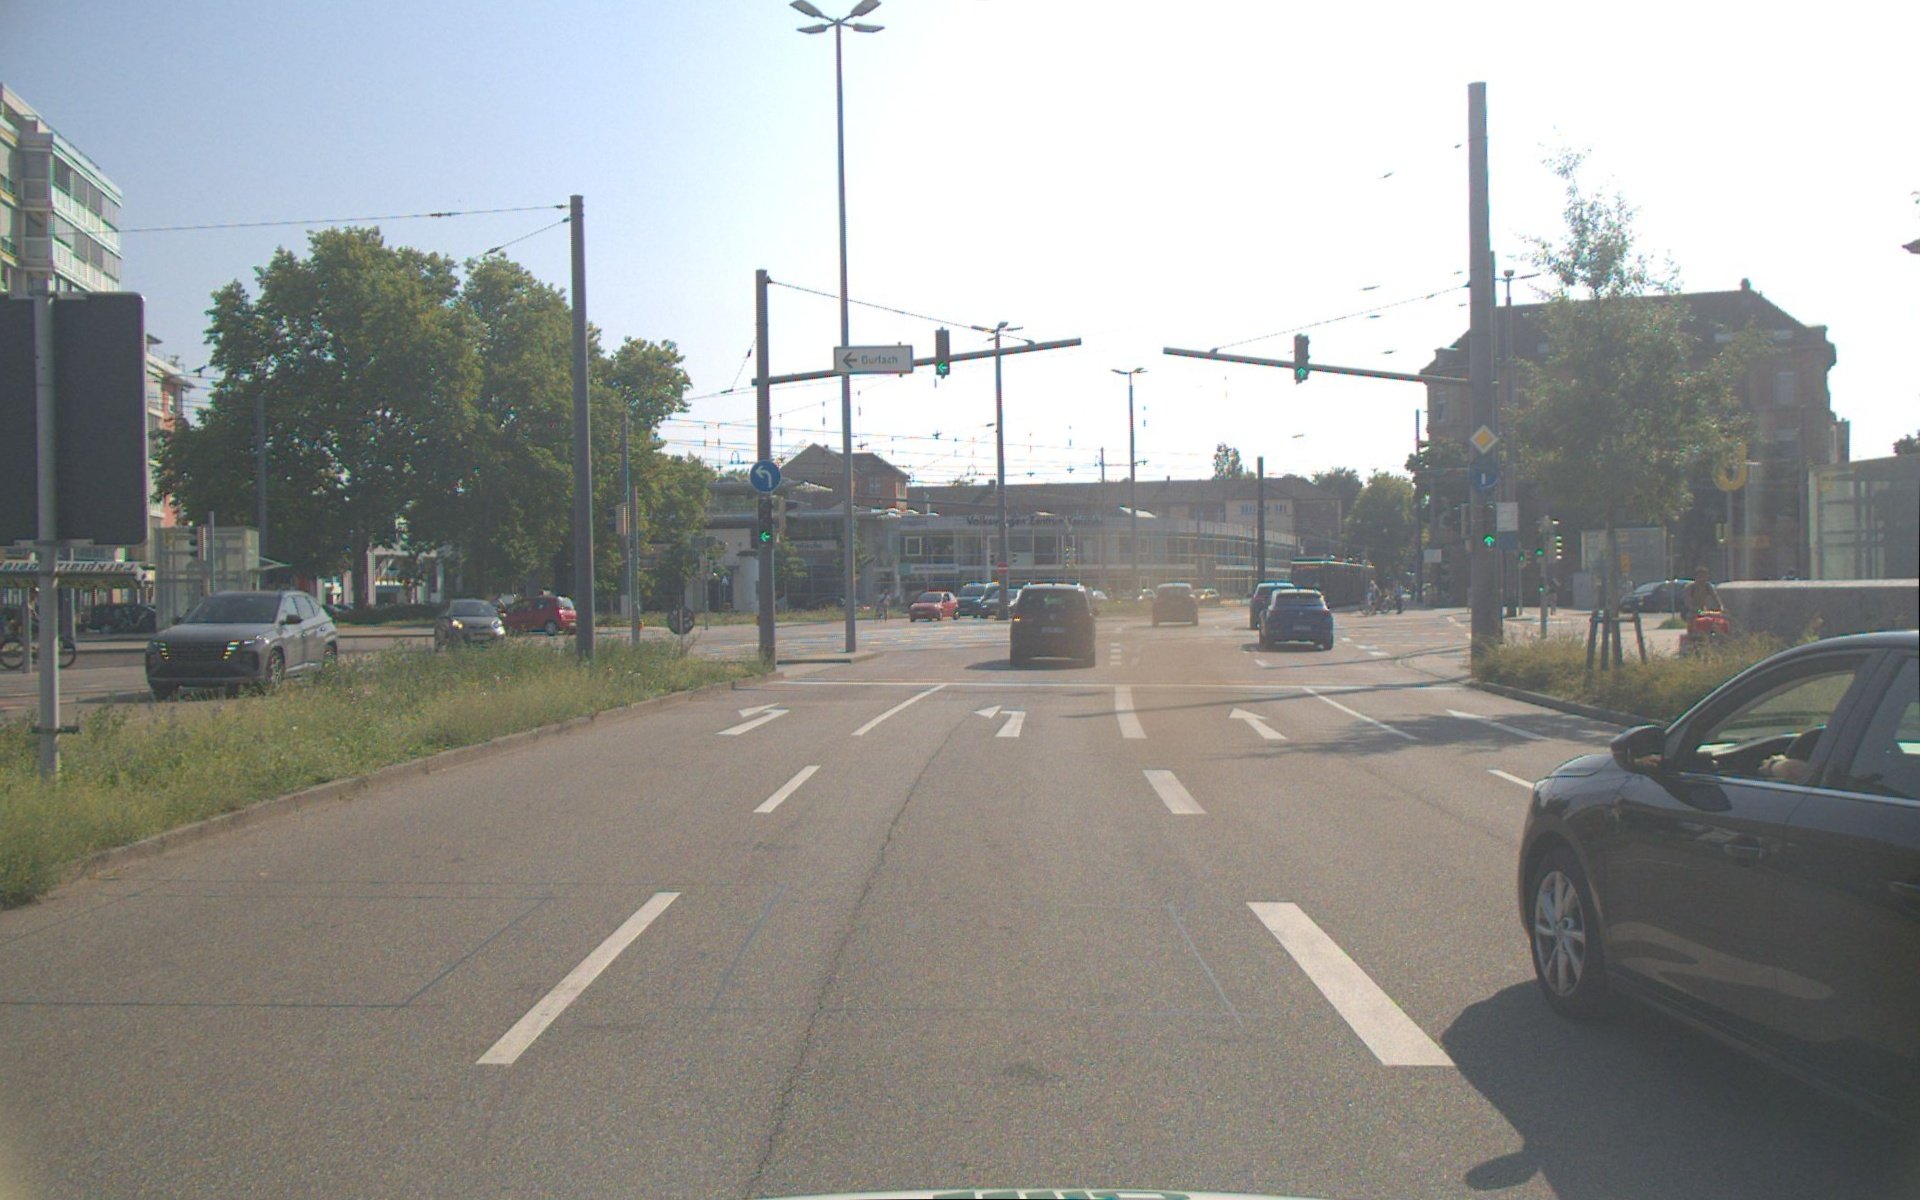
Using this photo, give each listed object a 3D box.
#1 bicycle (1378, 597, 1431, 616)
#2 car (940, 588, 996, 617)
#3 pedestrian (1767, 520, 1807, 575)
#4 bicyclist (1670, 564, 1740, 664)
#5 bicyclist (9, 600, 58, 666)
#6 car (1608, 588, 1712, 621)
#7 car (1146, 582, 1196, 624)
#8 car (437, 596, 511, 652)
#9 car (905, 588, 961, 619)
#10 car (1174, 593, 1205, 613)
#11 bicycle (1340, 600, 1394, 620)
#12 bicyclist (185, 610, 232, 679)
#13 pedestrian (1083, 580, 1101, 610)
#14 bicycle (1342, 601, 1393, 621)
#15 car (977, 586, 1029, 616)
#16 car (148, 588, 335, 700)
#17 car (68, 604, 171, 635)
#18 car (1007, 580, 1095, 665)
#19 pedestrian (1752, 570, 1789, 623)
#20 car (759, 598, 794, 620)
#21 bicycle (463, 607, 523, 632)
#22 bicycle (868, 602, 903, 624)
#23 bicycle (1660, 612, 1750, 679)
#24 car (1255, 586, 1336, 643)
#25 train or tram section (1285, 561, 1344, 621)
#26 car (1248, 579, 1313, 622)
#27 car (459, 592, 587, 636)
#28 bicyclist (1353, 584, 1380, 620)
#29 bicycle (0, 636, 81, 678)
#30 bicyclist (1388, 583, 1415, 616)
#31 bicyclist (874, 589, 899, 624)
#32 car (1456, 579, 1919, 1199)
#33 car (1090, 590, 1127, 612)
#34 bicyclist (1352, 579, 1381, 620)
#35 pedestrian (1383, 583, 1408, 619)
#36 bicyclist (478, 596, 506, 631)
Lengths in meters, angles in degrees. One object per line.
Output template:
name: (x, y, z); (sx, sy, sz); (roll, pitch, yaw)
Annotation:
bicycle: (23.737, 0.335, 88.268); (2.580, 0.981, 1.086); (-1, 0, -21)
car: (0.453, 0.126, 92.074); (1.919, 1.501, 4.002); (-3, -1, 18)
pedestrian: (26.245, -1.651, 52.503); (0.907, 1.719, 0.919); (-1, 0, 43)
bicyclist: (11.768, 0.216, 26.147); (0.704, 1.539, 1.005); (-1, 0, 6)
bicyclist: (-22.096, 0.779, 39.440); (0.779, 1.554, 0.725); (-1, 0, -8)
car: (31.942, 0.200, 75.493); (4.316, 1.421, 2.008); (-1, 0, -24)
car: (8.229, 0.087, 64.328); (1.786, 1.562, 4.416); (-1, 0, 9)
car: (-13.899, 0.654, 47.174); (1.860, 1.477, 3.655); (-1, 0, -19)
car: (-1.370, 0.168, 84.940); (1.580, 1.501, 4.002); (-3, -1, 18)
car: (17.864, 0.230, 128.758); (1.581, 1.501, 4.001); (-3, -1, 19)
bicycle: (21.379, 0.528, 86.846); (2.580, 0.981, 1.086); (-1, 0, -21)
bicyclist: (-18.818, 1.109, 41.416); (0.864, 1.681, 0.725); (-1, 0, -8)
pedestrian: (6.720, -0.256, 84.004); (0.761, 1.529, 0.711); (-1, 0, 17)
bicycle: (20.850, 0.545, 84.598); (2.595, 0.981, 1.080); (-1, 0, -34)
car: (2.262, 0.042, 86.821); (1.580, 1.501, 4.002); (-3, -1, 18)
car: (-11.656, 0.663, 27.131); (1.662, 1.645, 4.453); (-1, 0, -8)
car: (-39.502, 0.889, 77.830); (4.088, 1.378, 1.475); (-1, 0, -16)
car: (1.932, 0.446, 36.006); (1.787, 1.744, 4.413); (0, 0, 2)
pedestrian: (26.319, -0.117, 53.719); (0.906, 1.719, 0.833); (-1, 0, 41)
car: (-13.805, 0.667, 124.860); (1.663, 1.549, 4.103); (0, 0, 8)
bicycle: (-21.128, 0.865, 74.896); (2.553, 1.075, 0.958); (-1, 0, -12)
bicycle: (-3.846, 0.677, 85.629); (0.938, 1.075, 2.609); (0, 0, 19)
bicycle: (11.784, 0.702, 26.214); (0.704, 0.976, 1.923); (-1, 0, 6)
car: (9.110, 0.361, 45.153); (1.787, 1.453, 4.416); (-1, 0, 7)
train or tram section: (23.771, -0.633, 110.463); (2.599, 3.763, 10.594); (-1, 0, 19)
car: (11.395, -0.011, 59.041); (1.787, 1.453, 4.415); (-1, 0, 5)
car: (-16.493, 0.518, 62.482); (4.304, 1.562, 1.833); (-1, 0, 16)
bicyclist: (21.359, 0.100, 86.837); (0.920, 1.831, 1.087); (-1, 0, -20)
bicycle: (-22.069, 1.360, 39.445); (1.778, 0.948, 0.725); (-1, 0, -8)
bicyclist: (23.555, -0.035, 88.193); (0.920, 1.709, 1.087); (-1, 0, -20)
bicyclist: (-3.808, 0.318, 85.743); (0.938, 1.779, 1.166); (-1, 0, 20)
car: (3.077, 0.714, 4.939); (1.649, 1.518, 4.369); (1, 0, -3)
car: (10.495, 0.054, 116.912); (1.581, 1.501, 4.001); (-3, -1, 19)
bicyclist: (20.804, -0.008, 84.576); (0.925, 2.059, 1.080); (-1, 0, -33)
pedestrian: (22.562, 0.053, 85.715); (0.918, 1.828, 0.848); (-1, 0, -37)
bicyclist: (-21.171, 0.609, 74.888); (1.142, 1.554, 0.958); (0, 0, -11)
